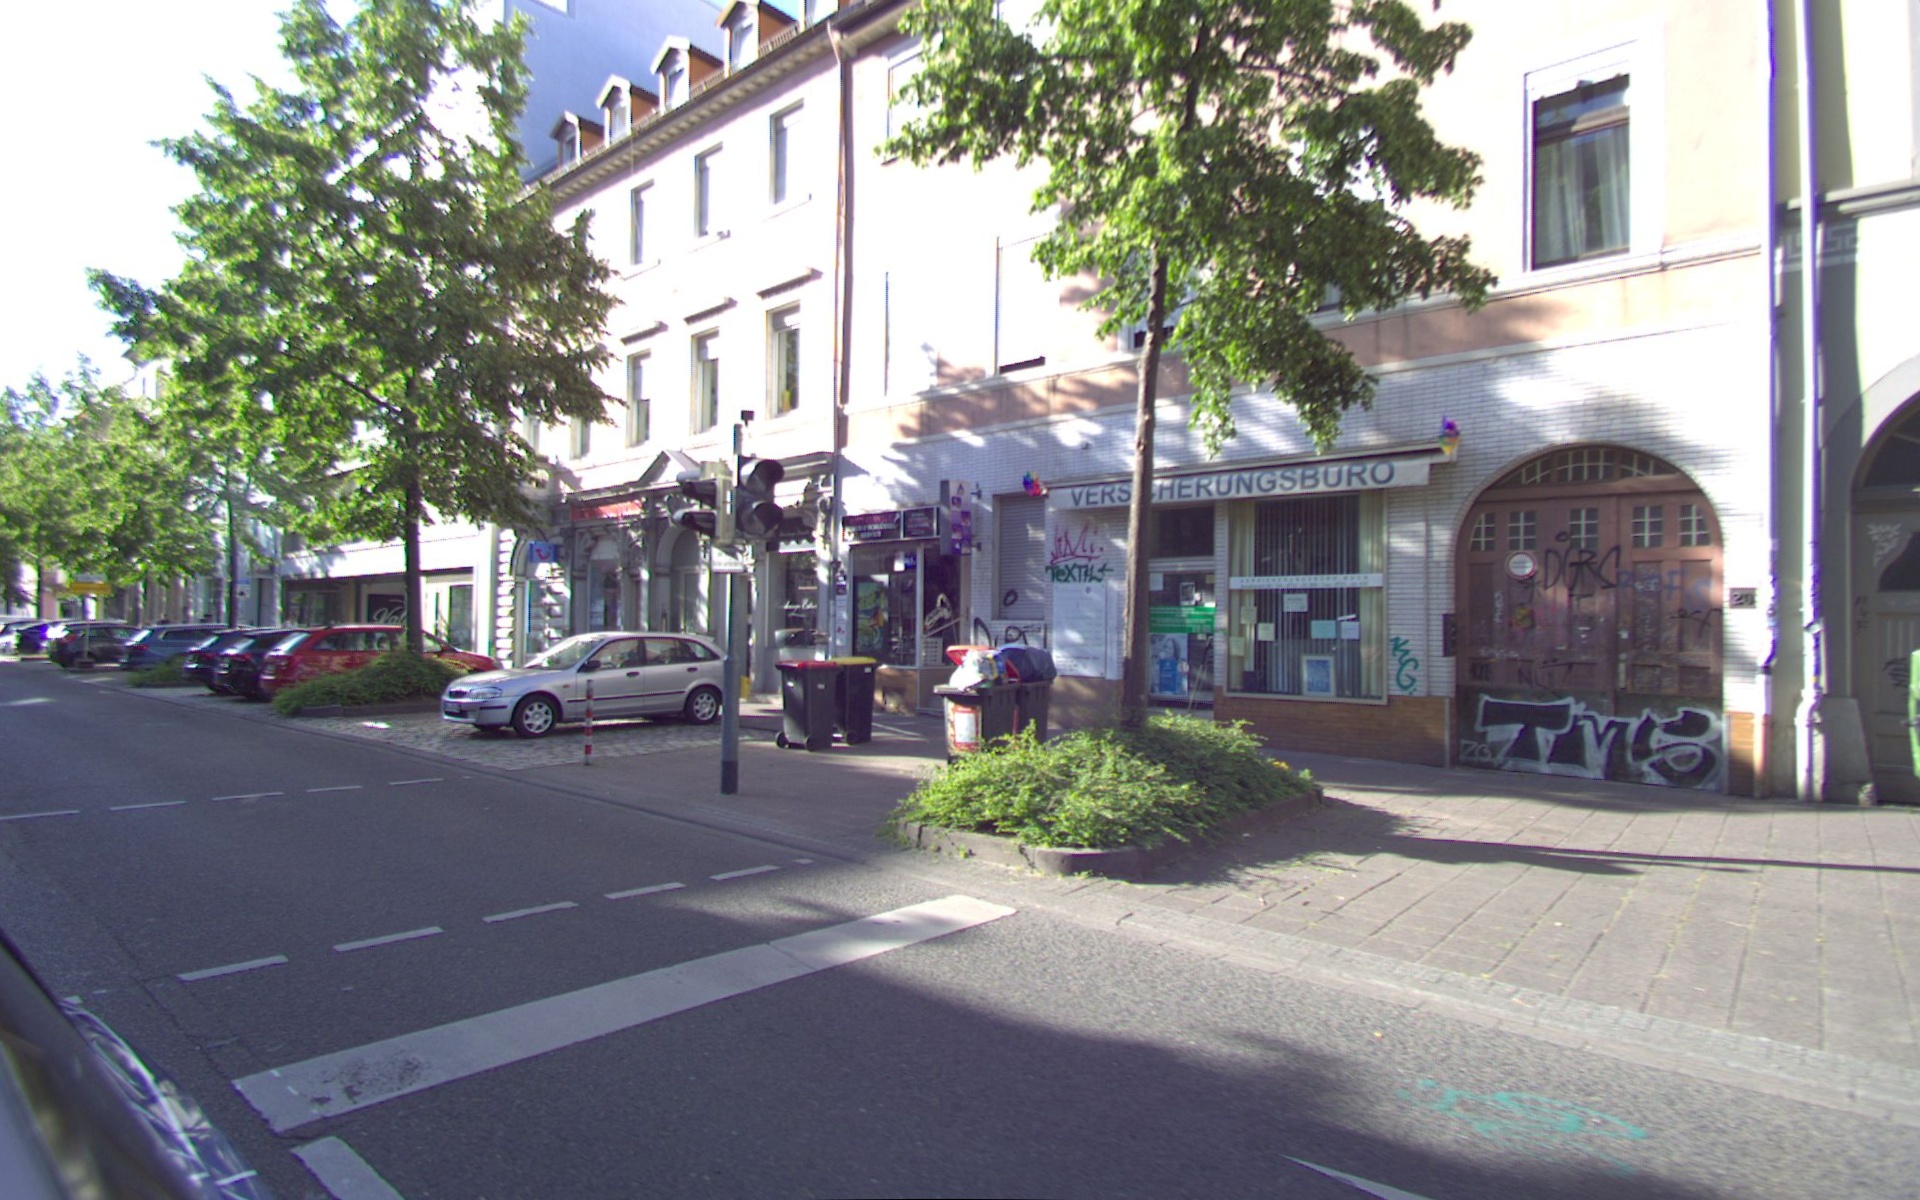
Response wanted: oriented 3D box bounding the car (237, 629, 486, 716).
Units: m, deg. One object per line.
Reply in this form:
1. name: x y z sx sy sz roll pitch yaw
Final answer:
1. car: -11.239 1.294 19.199 1.738 1.479 3.709 -2 -2 40

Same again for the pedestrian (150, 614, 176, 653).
1. pedestrian: -37.311 1.554 47.372 0.762 1.779 0.767 -1 1 39

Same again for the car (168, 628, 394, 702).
1. car: -15.058 1.373 22.588 1.770 1.497 3.877 -2 -2 42

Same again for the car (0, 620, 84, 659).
1. car: -45.364 1.888 49.137 2.038 1.850 4.062 -2 -2 41

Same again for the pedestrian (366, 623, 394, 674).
1. pedestrian: -16.554 1.383 28.900 0.502 1.419 0.825 1 -2 -45

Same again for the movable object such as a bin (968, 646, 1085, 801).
1. movable object such as a bin: 0.630 1.112 9.475 0.804 1.351 0.747 -1 -3 40

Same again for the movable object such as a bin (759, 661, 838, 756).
1. movable object such as a bin: -1.950 1.283 12.212 0.804 1.077 0.526 -1 -3 40

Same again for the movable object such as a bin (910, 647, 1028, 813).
1. movable object such as a bin: 0.080 1.089 8.835 0.804 1.351 0.628 -1 -3 40

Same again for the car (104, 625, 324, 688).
1. car: -19.805 1.447 27.042 1.788 1.470 4.449 -1 -1 38

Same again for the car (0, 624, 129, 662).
1. car: -38.532 1.820 43.306 1.945 1.582 4.320 -2 -3 41

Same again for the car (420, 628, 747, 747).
1. car: -5.345 1.149 14.780 1.740 1.479 4.157 -2 -2 43

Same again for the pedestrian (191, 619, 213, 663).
1. pedestrian: -31.785 1.731 42.417 0.690 1.811 0.747 2 -3 -37

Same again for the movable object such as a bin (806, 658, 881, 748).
1. movable object such as a bin: -1.472 1.280 12.804 0.804 1.077 0.526 -1 -3 40

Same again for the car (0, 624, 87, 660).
1. car: -42.058 1.878 45.717 1.791 1.570 3.759 -2 -3 41

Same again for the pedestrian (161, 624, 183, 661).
1. pedestrian: -33.596 1.801 43.133 0.842 1.505 0.586 -2 -1 42

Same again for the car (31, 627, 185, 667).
1. car: -32.824 1.791 39.071 1.977 1.470 4.205 -1 -2 37

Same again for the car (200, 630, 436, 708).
1. car: -13.182 1.351 20.930 1.789 1.440 3.799 -2 -2 42

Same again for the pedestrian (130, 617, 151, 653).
1. pedestrian: -37.855 1.622 46.743 0.726 1.639 0.559 -1 1 39

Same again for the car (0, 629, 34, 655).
1. car: -55.154 2.375 57.333 1.708 1.475 3.742 -2 -2 38

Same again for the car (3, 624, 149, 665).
1. car: -36.442 1.820 41.798 1.979 1.582 4.320 -2 -3 41

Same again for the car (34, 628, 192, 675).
1. car: -28.269 1.687 33.869 1.778 1.470 3.744 -2 -2 38
